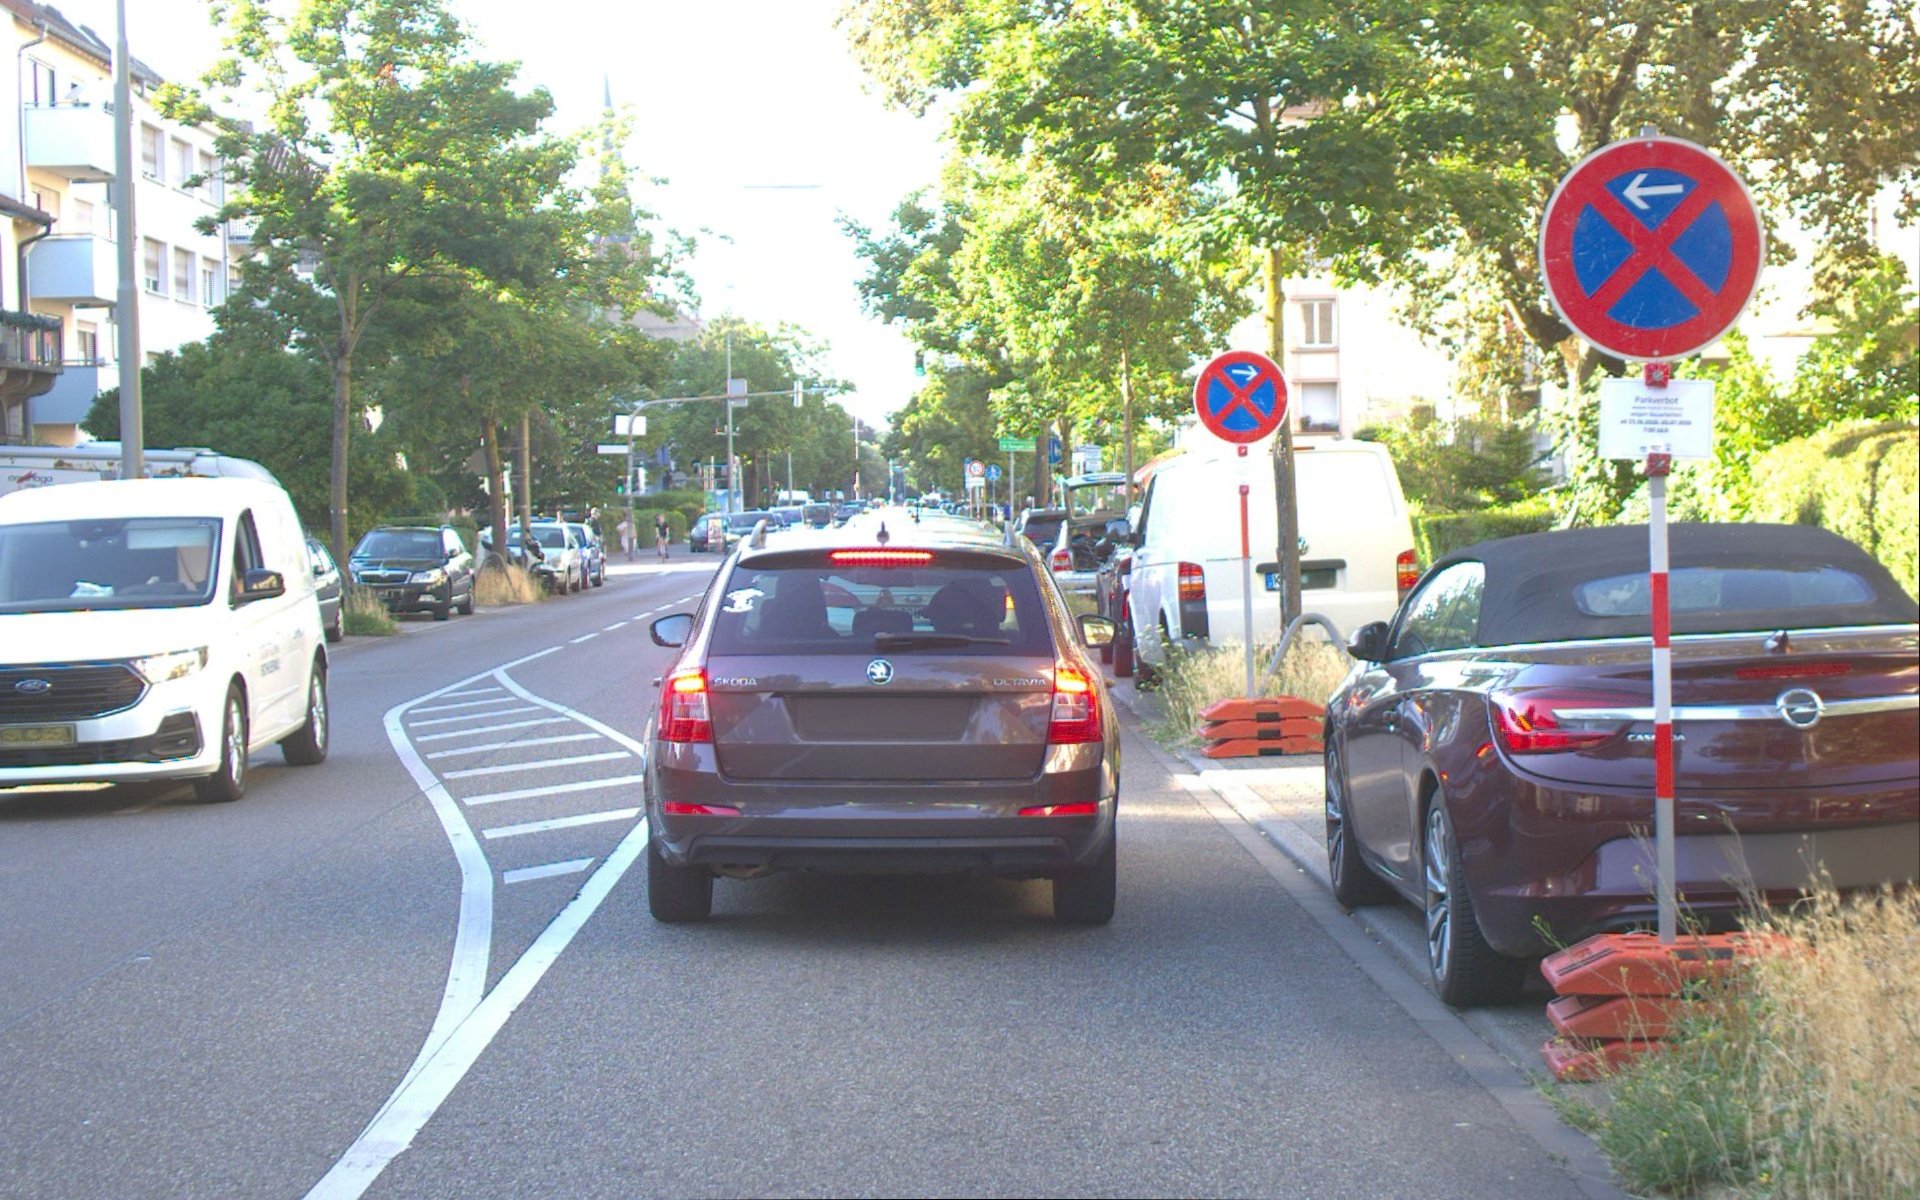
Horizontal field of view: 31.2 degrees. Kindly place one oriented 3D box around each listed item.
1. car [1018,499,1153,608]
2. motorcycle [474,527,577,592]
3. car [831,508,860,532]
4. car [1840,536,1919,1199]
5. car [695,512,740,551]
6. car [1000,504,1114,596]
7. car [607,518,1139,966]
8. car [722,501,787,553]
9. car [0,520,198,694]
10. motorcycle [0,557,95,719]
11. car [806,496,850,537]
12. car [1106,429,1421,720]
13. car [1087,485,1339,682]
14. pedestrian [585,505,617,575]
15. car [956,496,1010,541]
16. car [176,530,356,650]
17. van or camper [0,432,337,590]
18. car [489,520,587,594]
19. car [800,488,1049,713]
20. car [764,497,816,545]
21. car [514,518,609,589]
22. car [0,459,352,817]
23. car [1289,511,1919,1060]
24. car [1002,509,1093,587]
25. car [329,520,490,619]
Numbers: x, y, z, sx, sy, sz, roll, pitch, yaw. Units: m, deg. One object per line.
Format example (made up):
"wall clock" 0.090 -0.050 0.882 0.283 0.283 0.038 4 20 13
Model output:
"car" 1.822 -0.715 51.060 1.708 1.475 4.269 -3 2 -1
"motorcycle" -8.624 -0.804 68.198 2.052 1.260 0.765 0 2 38
"car" -7.916 -5.543 237.896 1.830 1.574 4.000 -1 1 0
"car" 2.358 0.683 3.258 1.821 1.472 4.622 -1 1 0
"car" -9.460 -2.678 134.266 1.522 1.452 3.585 -1 1 0
"car" 1.763 -0.951 63.548 1.855 1.576 4.014 -3 2 -1
"car" -0.332 0.426 13.644 1.773 1.484 4.311 0 1 -1
"car" -6.629 -2.343 111.186 1.835 1.565 4.000 -3 1 -1
"car" -8.395 0.030 32.259 1.593 1.518 3.436 -1 1 2
"motorcycle" -7.986 0.291 28.443 1.179 1.261 2.370 -2 2 -24
"car" -6.530 -4.167 170.852 1.993 1.902 4.964 -3 2 -1
"car" 2.315 -0.244 27.389 1.903 2.096 4.641 -1 1 -2
"car" 2.278 -0.202 31.992 1.855 1.598 4.312 -3 2 -1
"pedestrian" -10.173 -1.707 97.477 0.780 1.981 0.821 -1 1 0
"car" 0.947 -3.296 138.549 1.994 1.766 4.000 1 1 2
"car" -8.672 -0.158 43.191 1.543 1.391 3.666 -1 1 -1
"van or camper" -15.258 -1.681 64.249 6.797 2.763 2.352 1 1 -1
"car" -8.793 -0.916 71.905 1.593 1.465 3.804 1 1 0
"car" -0.279 -0.051 26.347 1.736 1.565 4.000 1 1 -1
"car" -6.681 -3.116 135.458 1.805 1.798 4.746 -3 1 -1
"car" -8.842 -1.060 76.533 1.648 1.512 4.074 0 1 0
"car" -4.839 0.157 20.022 1.888 1.797 4.432 -3 2 -2
"car" 2.297 0.448 11.726 1.757 1.415 4.615 -3 2 -1
"car" 1.766 -1.075 69.173 1.703 1.445 4.013 -2 2 2
"car" -8.756 -0.516 54.973 1.867 1.489 4.518 1 1 0
